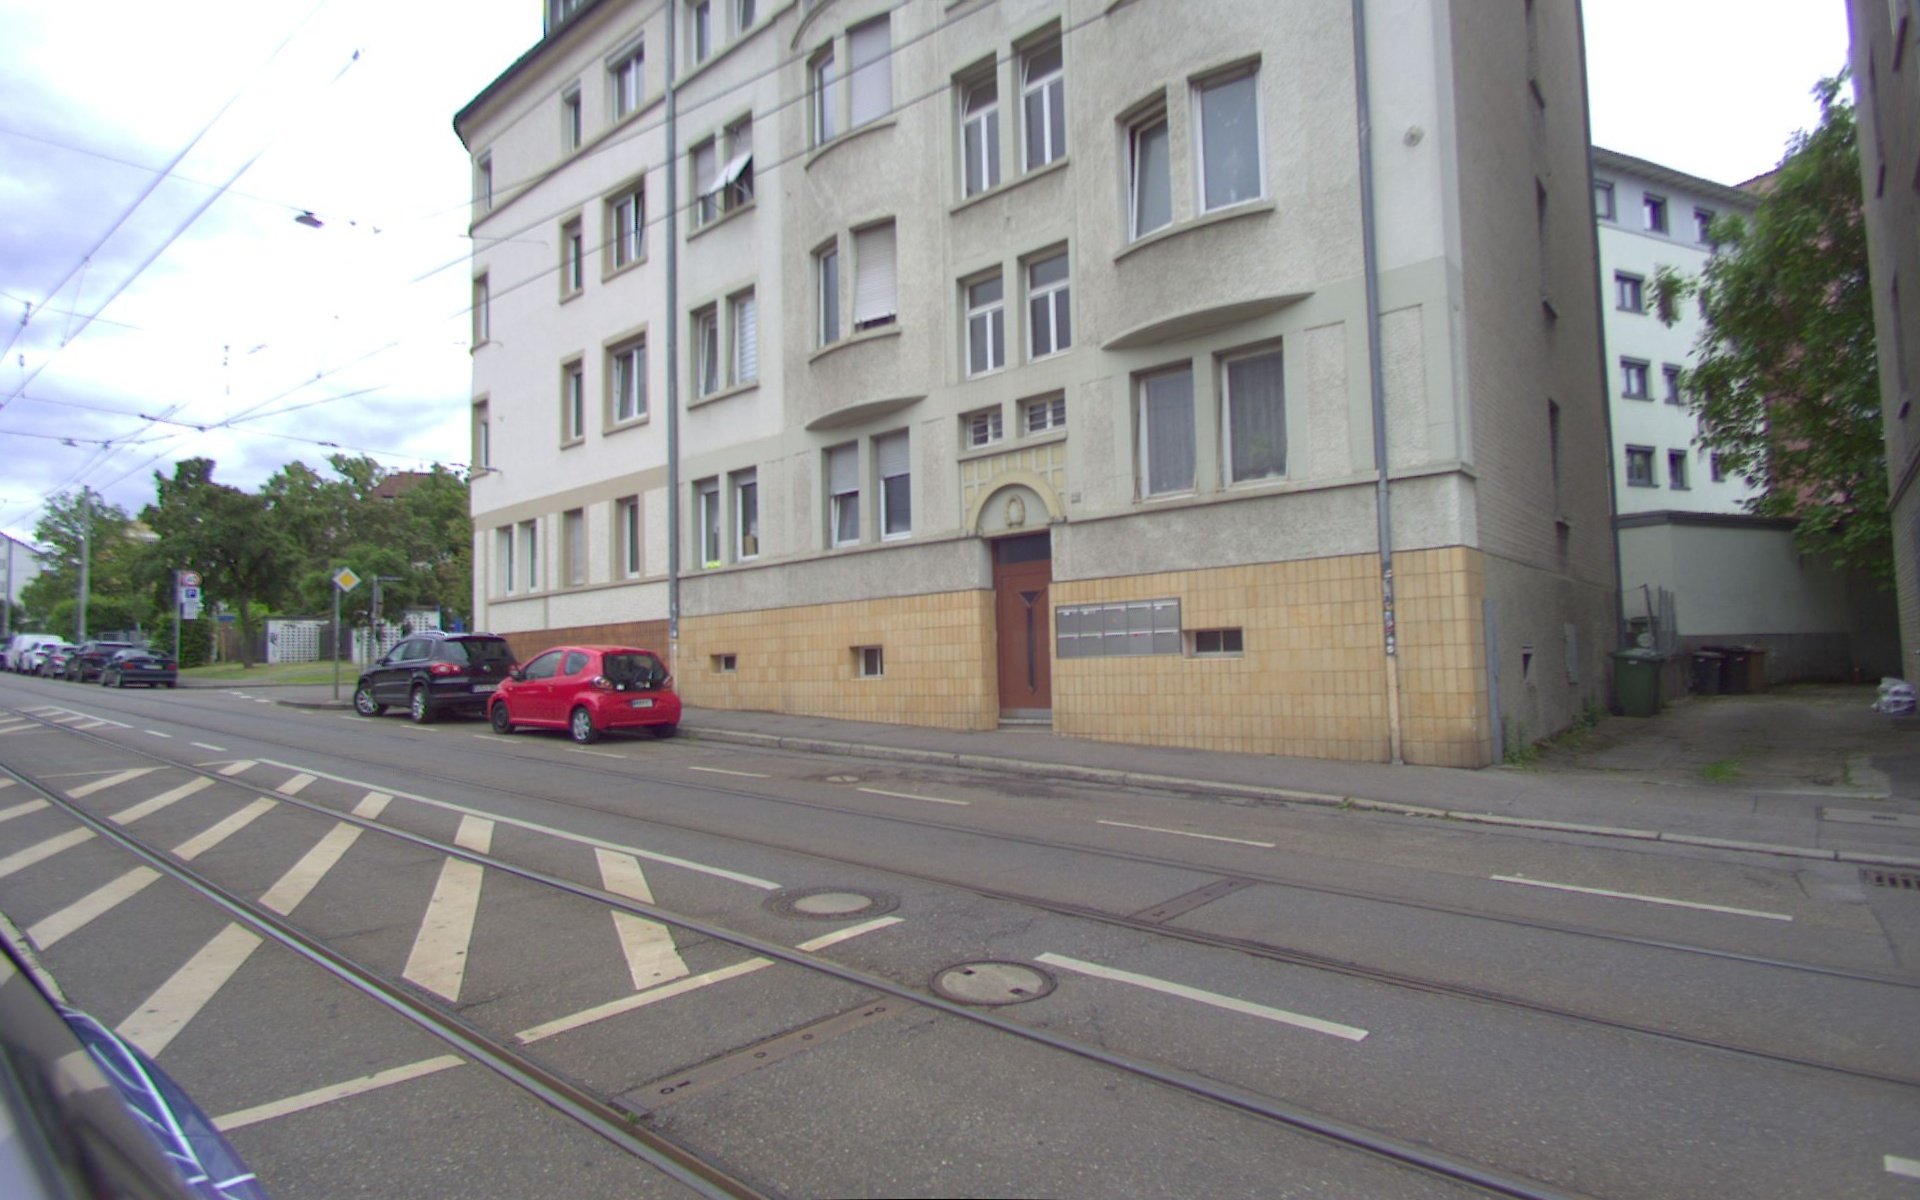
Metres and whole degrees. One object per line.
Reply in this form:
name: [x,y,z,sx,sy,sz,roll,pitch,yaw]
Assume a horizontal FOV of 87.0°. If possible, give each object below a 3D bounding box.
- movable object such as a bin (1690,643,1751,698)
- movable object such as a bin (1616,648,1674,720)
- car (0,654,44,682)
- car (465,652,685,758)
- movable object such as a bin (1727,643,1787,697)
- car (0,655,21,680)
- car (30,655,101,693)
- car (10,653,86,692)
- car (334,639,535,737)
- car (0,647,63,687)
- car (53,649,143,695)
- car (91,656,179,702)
movable object such as a bin: [16.381,1.514,21.800,0.951,1.135,0.659,0,-2,-27]
movable object such as a bin: [11.352,1.368,16.766,0.657,1.135,0.954,-3,-3,41]
car: [-51.871,3.686,55.426,4.513,1.398,1.821,-2,-3,40]
car: [-6.262,1.599,16.327,3.740,1.474,1.605,-2,-3,38]
movable object such as a bin: [17.438,1.514,22.136,0.951,1.135,0.659,0,-2,-27]
car: [-56.818,3.964,59.438,4.436,1.398,1.821,-2,-3,40]
car: [-39.159,3.192,44.286,3.865,1.520,1.721,-2,-3,39]
car: [-43.064,3.389,47.763,4.628,1.699,1.949,-2,-3,40]
car: [-10.214,1.603,19.550,4.398,1.658,1.849,-2,-3,40]
car: [-47.781,3.377,51.864,4.730,1.927,1.949,-2,-3,40]
car: [-34.409,2.832,40.384,4.440,1.699,1.949,-2,-3,39]
car: [-29.390,2.767,36.027,4.152,1.489,1.604,-2,-3,40]
